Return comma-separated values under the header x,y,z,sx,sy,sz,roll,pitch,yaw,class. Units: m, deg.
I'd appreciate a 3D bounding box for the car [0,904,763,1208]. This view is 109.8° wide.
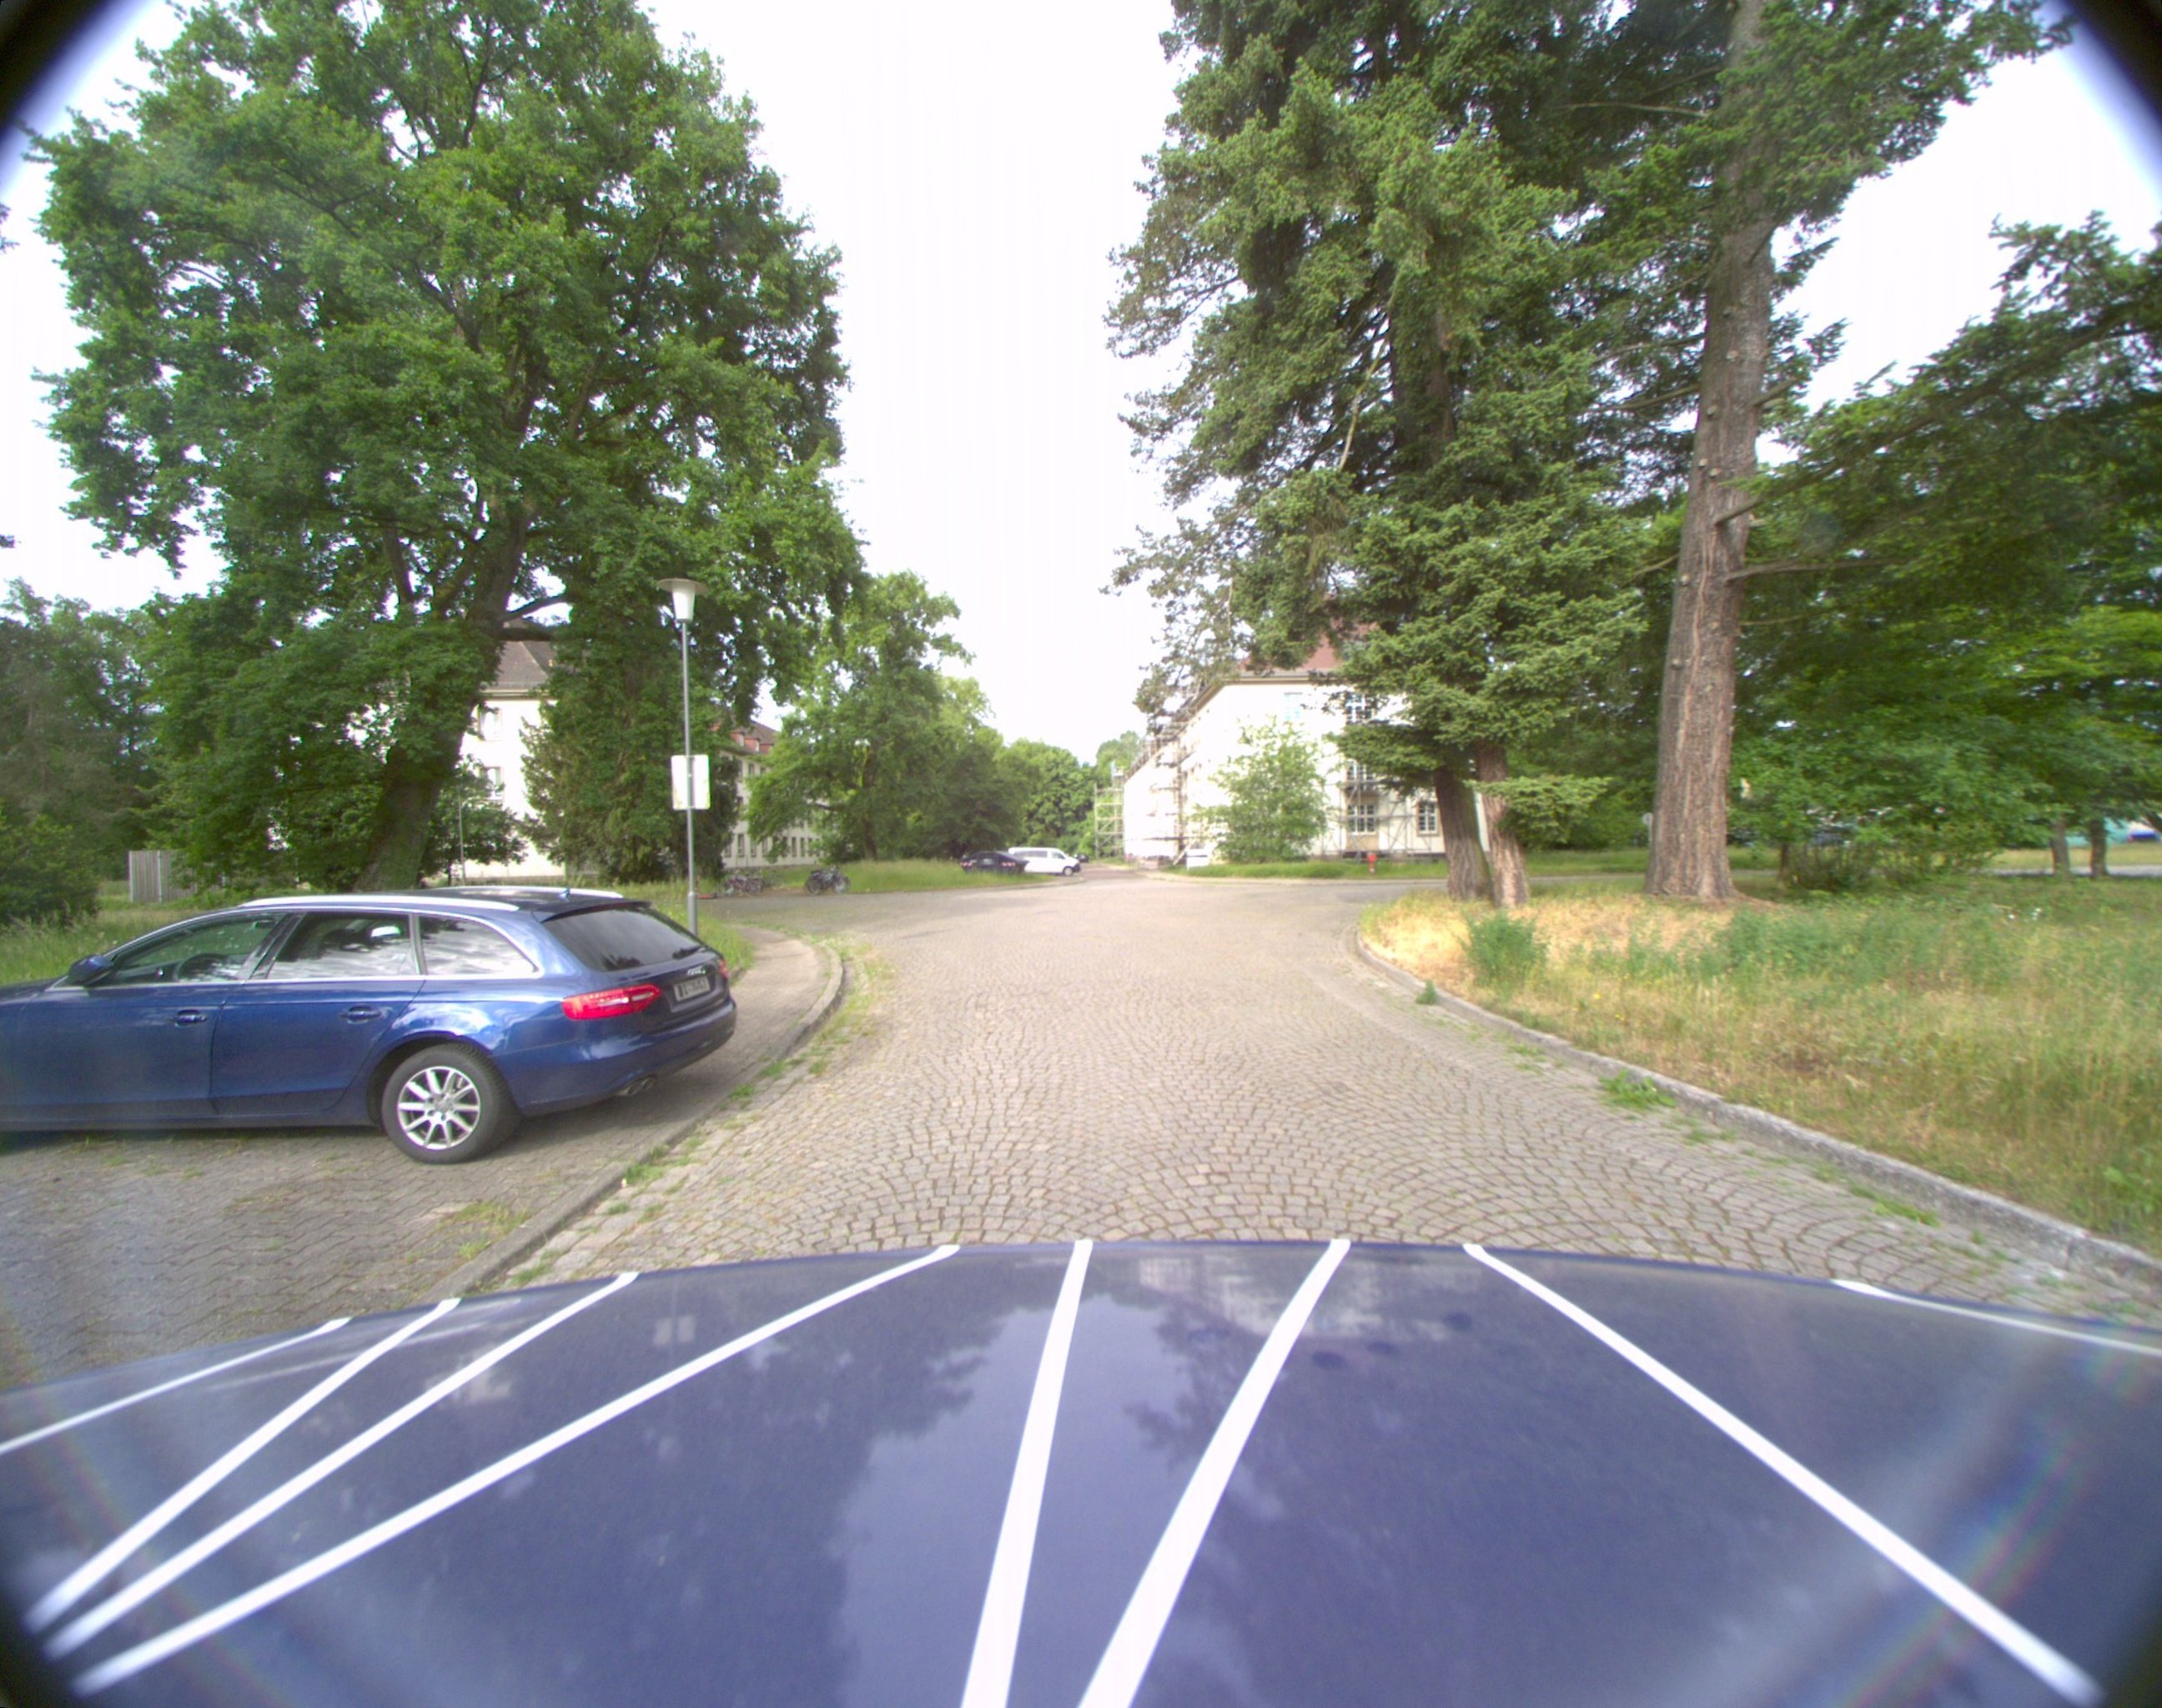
x,y,z,sx,sy,sz,roll,pitch,yaw,class
-4.623,1.095,4.761,4.481,1.413,1.784,0,1,1,car

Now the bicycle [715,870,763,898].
x,y,z,sx,sy,sz,roll,pitch,yaw,class
-14.899,1.285,33.126,1.860,1.116,0.620,-3,1,-25,bicycle

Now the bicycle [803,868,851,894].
x,y,z,sx,sy,sz,roll,pitch,yaw,class
-11.565,1.211,34.625,1.976,1.070,0.587,-3,1,-30,bicycle

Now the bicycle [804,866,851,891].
x,y,z,sx,sy,sz,roll,pitch,yaw,class
-12.231,1.165,36.702,2.032,1.070,0.620,-3,1,-25,bicycle

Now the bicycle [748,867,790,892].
x,y,z,sx,sy,sz,roll,pitch,yaw,class
-15.443,1.243,37.594,1.860,1.116,0.620,-3,1,-25,bicycle

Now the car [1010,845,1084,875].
x,y,z,sx,sy,sz,roll,pitch,yaw,class
-2.430,0.412,53.733,5.102,2.007,2.054,0,1,-4,car

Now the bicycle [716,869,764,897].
x,y,z,sx,sy,sz,roll,pitch,yaw,class
-15.125,1.287,33.726,1.860,1.116,0.620,-3,1,-25,bicycle

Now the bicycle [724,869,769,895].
x,y,z,sx,sy,sz,roll,pitch,yaw,class
-15.554,1.285,35.368,1.860,1.116,0.620,-3,1,-25,bicycle

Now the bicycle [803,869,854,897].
x,y,z,sx,sy,sz,roll,pitch,yaw,class
-10.982,1.240,33.068,1.976,1.070,0.587,-3,1,-30,bicycle
